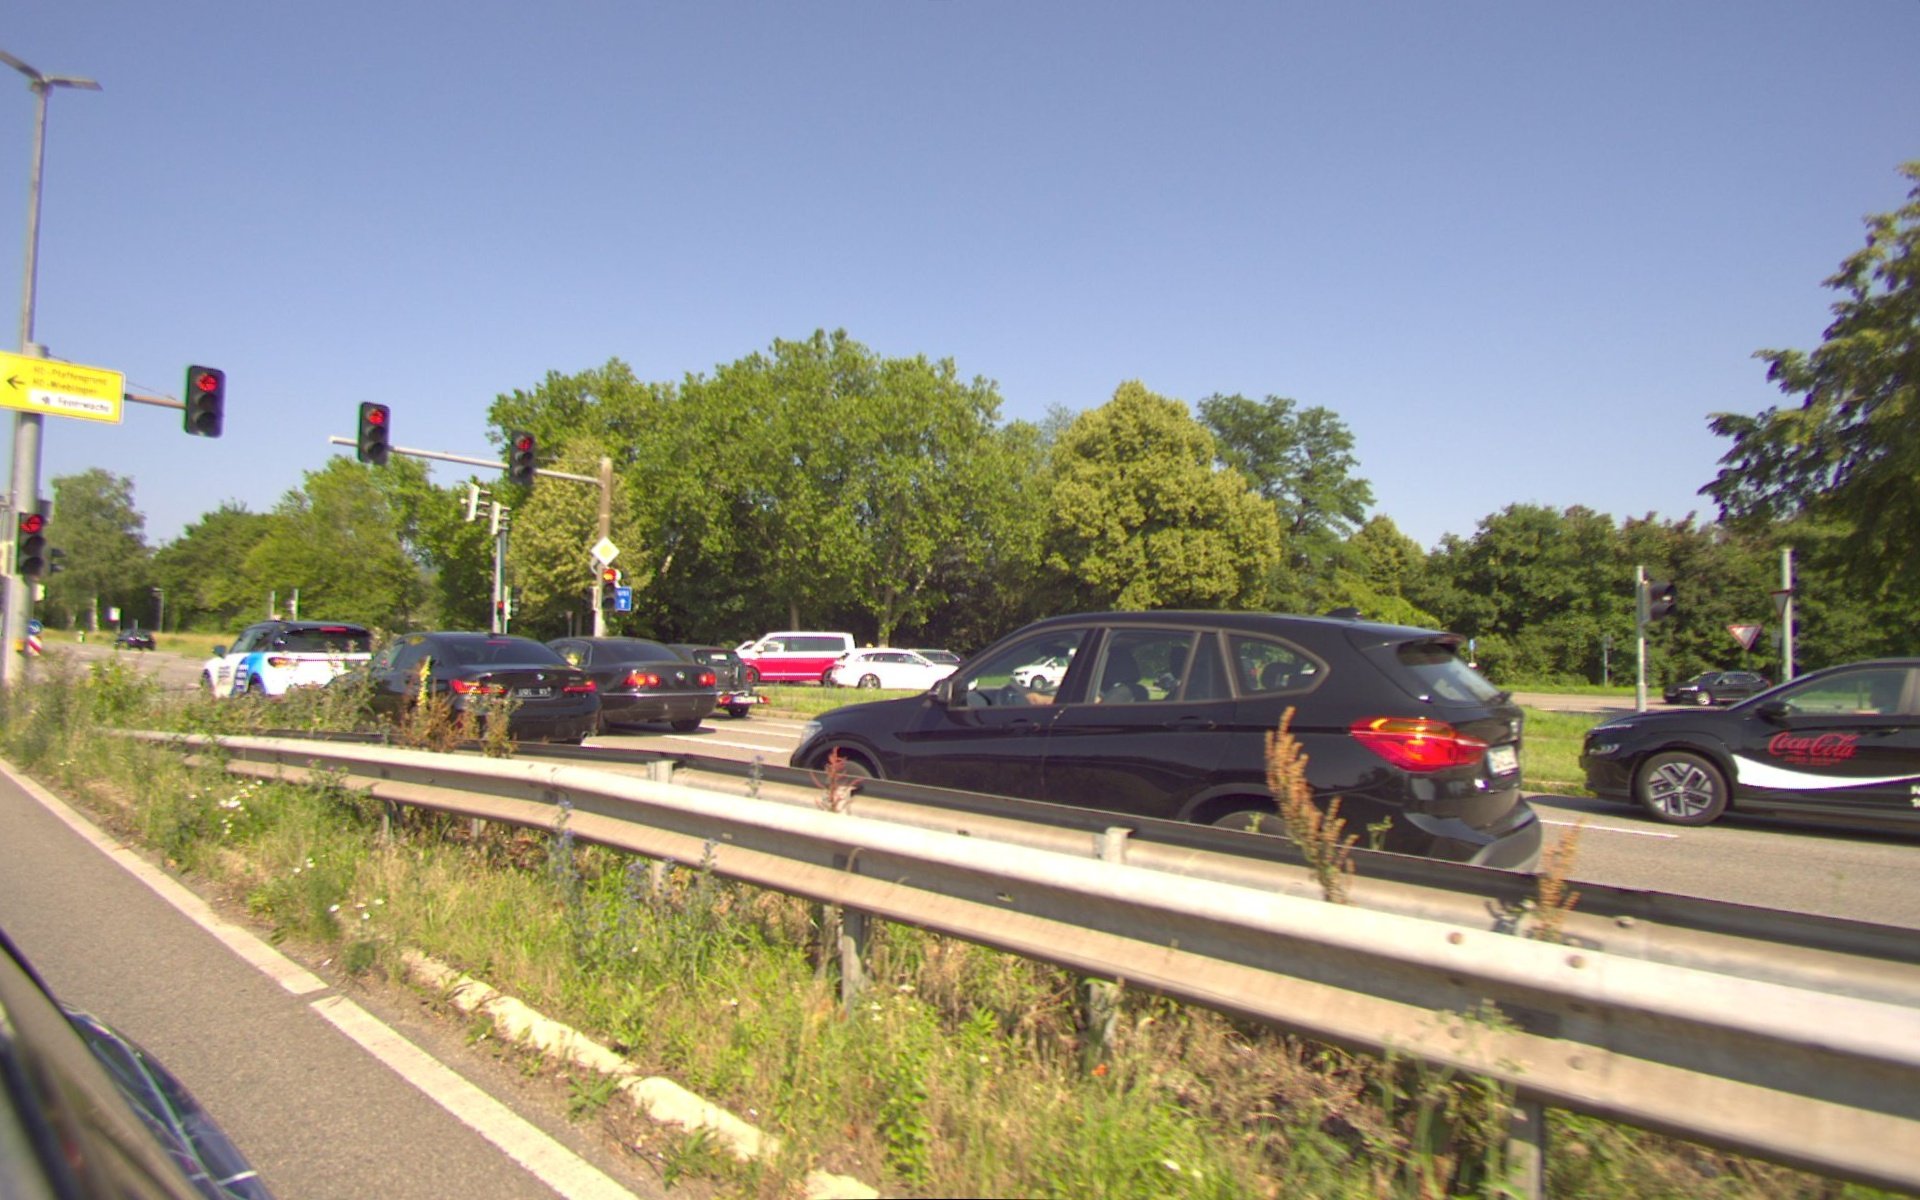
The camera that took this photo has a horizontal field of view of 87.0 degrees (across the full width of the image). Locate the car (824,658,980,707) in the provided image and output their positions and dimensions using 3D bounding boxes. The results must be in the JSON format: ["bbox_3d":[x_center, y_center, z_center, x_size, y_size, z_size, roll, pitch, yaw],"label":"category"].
[{"bbox_3d":[-1.961,2.739,33.749,4.888,1.475,1.823,3,-3,-13],"label":"car"}]

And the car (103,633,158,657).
[{"bbox_3d":[-58.770,3.189,71.711,4.277,1.506,1.975,1,-3,37],"label":"car"}]

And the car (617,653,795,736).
[{"bbox_3d":[-5.046,1.816,19.900,3.760,1.425,1.470,-2,-6,41],"label":"car"}]

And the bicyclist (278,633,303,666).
[{"bbox_3d":[-31.861,2.356,48.175,0.836,1.529,0.748,2,-3,-44],"label":"bicyclist"}]

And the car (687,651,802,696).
[{"bbox_3d":[-8.391,2.853,39.393,4.197,1.618,2.010,2,-3,-13],"label":"car"}]

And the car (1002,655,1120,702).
[{"bbox_3d":[4.160,3.248,42.016,4.432,1.814,2.010,2,-3,-13],"label":"car"}]

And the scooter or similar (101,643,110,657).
[{"bbox_3d":[-79.265,4.638,93.911,1.340,1.195,0.364,-1,-5,41],"label":"scooter or similar"}]

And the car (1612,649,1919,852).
[{"bbox_3d":[8.150,1.278,8.679,4.085,1.566,1.827,-2,-6,41],"label":"car"}]

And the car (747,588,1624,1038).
[{"bbox_3d":[0.973,0.854,5.853,4.613,1.606,1.828,-1,-5,40],"label":"car"}]

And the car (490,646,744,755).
[{"bbox_3d":[-5.454,1.474,15.851,4.266,1.448,1.909,-2,-5,42],"label":"car"}]

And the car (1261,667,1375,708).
[{"bbox_3d":[15.630,3.811,44.321,4.201,1.618,2.007,2,-3,-6],"label":"car"}]

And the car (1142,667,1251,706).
[{"bbox_3d":[10.051,3.661,43.102,4.057,1.524,1.924,2,-3,-13],"label":"car"}]

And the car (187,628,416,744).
[{"bbox_3d":[-10.703,1.293,16.348,4.209,1.622,1.989,-2,-4,41],"label":"car"}]

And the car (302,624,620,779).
[{"bbox_3d":[-6.152,1.128,12.158,4.894,1.497,1.796,-3,-6,44],"label":"car"}]

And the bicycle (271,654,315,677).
[{"bbox_3d":[-31.778,3.107,48.227,1.656,1.049,0.748,2,-3,-44],"label":"bicycle"}]

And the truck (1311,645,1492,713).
[{"bbox_3d":[16.506,2.943,37.949,5.939,2.407,2.387,1,-3,-13],"label":"truck"}]

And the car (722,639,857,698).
[{"bbox_3d":[-6.152,2.465,36.391,4.577,1.965,2.005,2,-3,-14],"label":"car"}]
